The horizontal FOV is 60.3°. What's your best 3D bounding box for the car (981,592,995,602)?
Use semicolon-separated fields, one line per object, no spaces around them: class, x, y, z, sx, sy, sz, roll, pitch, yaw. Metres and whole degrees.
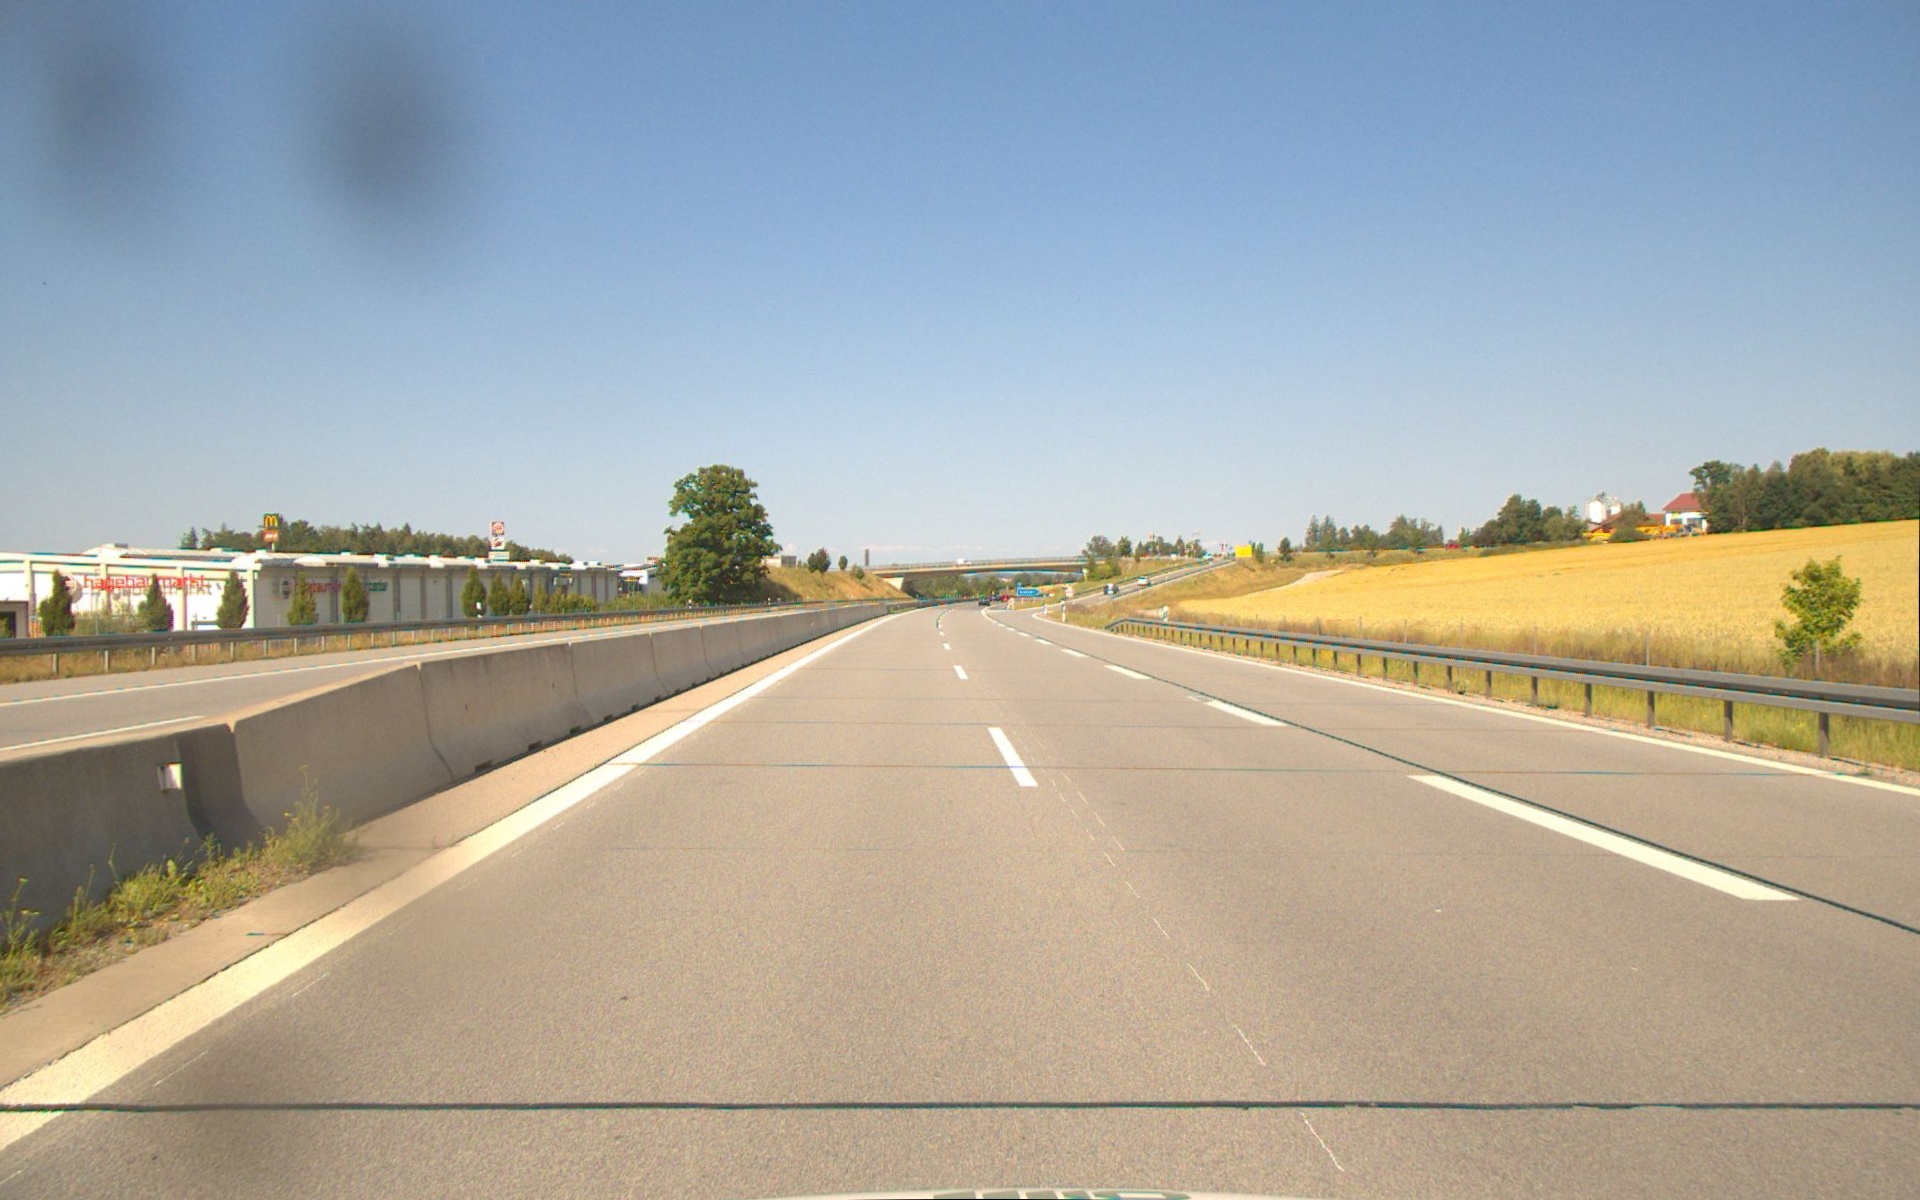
car;4.334;-0.453;256.141;1.952;1.445;4.001;-2;0;2
